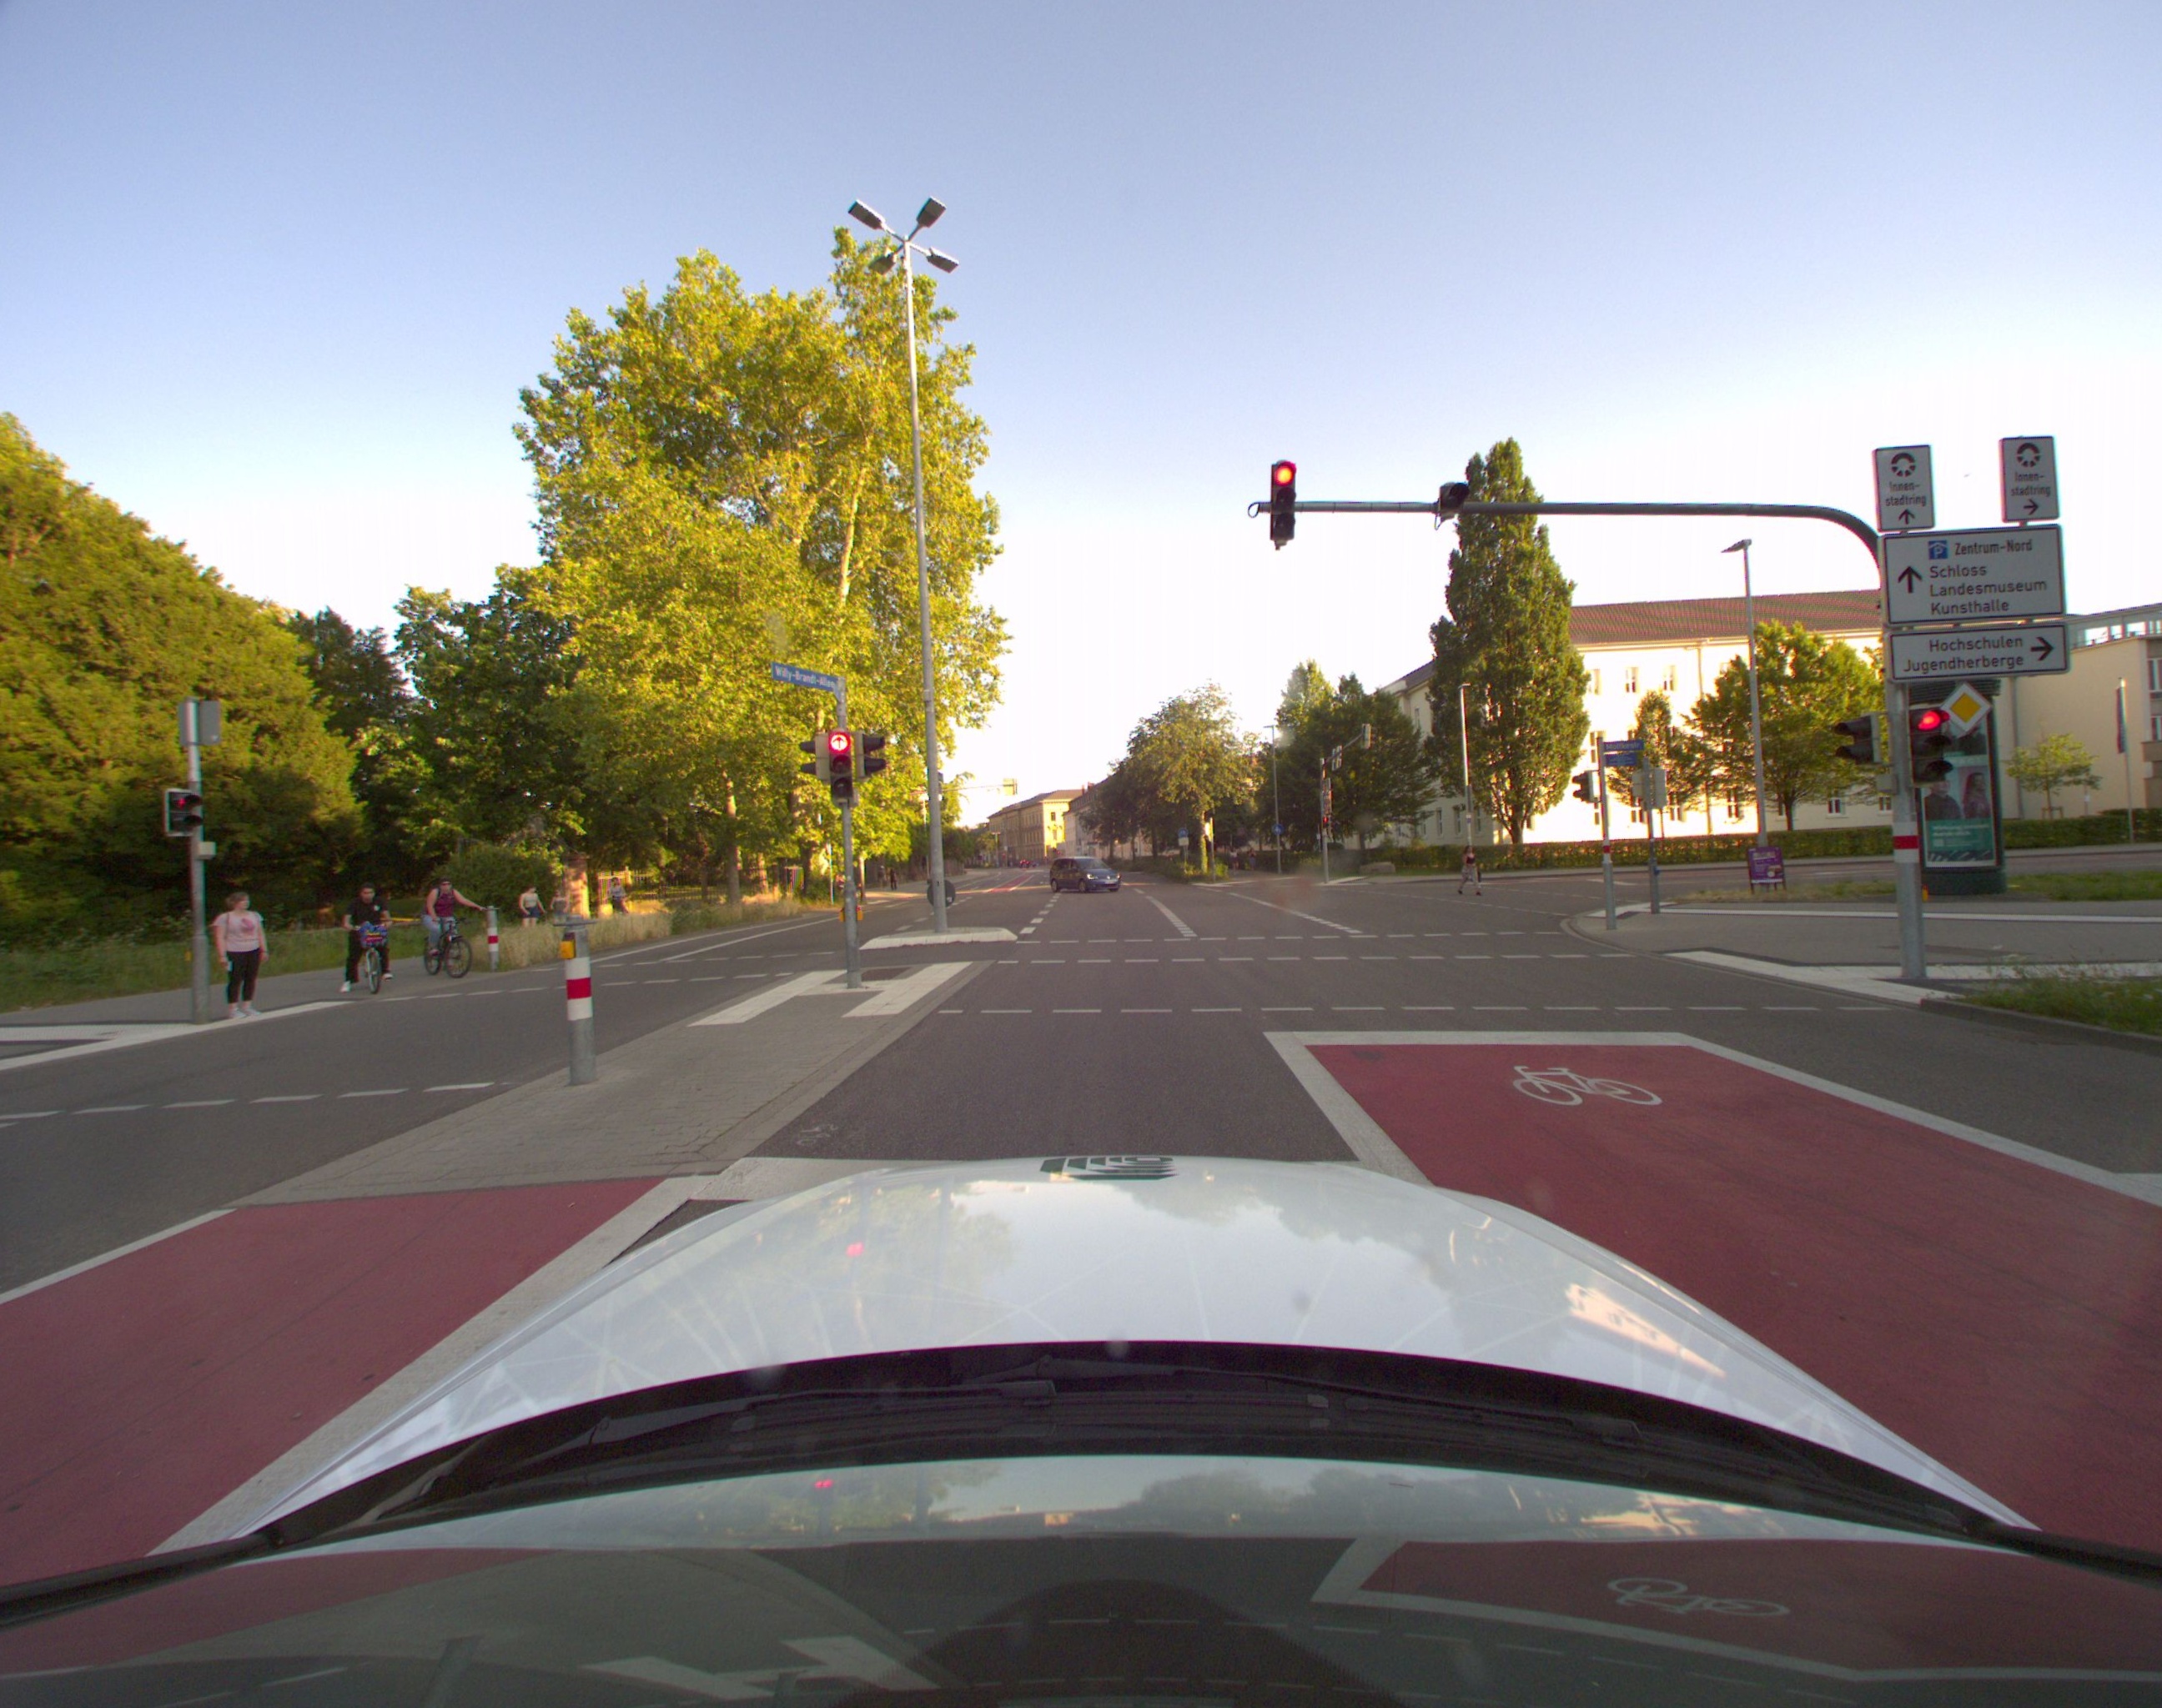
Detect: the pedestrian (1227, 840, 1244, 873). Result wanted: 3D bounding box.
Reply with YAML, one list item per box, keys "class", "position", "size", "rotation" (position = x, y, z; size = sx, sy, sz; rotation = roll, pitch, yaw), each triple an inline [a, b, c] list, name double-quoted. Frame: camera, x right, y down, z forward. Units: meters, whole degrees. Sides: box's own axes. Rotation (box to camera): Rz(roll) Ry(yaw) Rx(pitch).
- class: "pedestrian"
  position: [9.531, 0.170, 50.394]
  size: [0.867, 2.014, 0.723]
  rotation: [-2, -1, 1]

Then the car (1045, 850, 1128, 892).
- class: "car"
  position: [0.172, 0.772, 36.980]
  size: [1.861, 1.720, 4.254]
  rotation: [-3, 0, -30]

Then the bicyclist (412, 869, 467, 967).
- class: "bicyclist"
  position: [-12.029, 1.183, 15.277]
  size: [0.631, 1.780, 0.580]
  rotation: [-3, -1, 32]

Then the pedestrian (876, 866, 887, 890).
- class: "pedestrian"
  position: [-13.930, 1.671, 56.782]
  size: [0.533, 1.596, 0.591]
  rotation: [-3, 0, 1]

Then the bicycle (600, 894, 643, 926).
- class: "bicycle"
  position: [-16.260, 1.959, 28.817]
  size: [0.746, 1.033, 2.269]
  rotation: [-1, -1, -45]

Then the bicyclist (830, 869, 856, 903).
- class: "bicyclist"
  position: [-11.913, 1.585, 40.752]
  size: [0.954, 1.631, 0.753]
  rotation: [-3, 0, 2]

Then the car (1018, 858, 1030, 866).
- class: "car"
  position: [-11.984, 1.748, 170.237]
  size: [1.821, 1.588, 3.983]
  rotation: [-4, 0, -12]

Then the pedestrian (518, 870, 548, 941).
- class: "pedestrian"
  position: [-15.981, 1.496, 23.750]
  size: [0.654, 2.014, 0.599]
  rotation: [-1, -1, -37]

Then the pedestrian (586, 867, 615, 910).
- class: "pedestrian"
  position: [-23.214, 1.633, 39.366]
  size: [0.759, 2.014, 1.075]
  rotation: [-2, -1, -5]

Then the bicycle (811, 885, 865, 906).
- class: "bicycle"
  position: [-12.178, 2.086, 40.776]
  size: [2.420, 0.924, 0.775]
  rotation: [-3, 0, 2]

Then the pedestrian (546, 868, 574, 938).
- class: "pedestrian"
  position: [-15.453, 1.444, 24.157]
  size: [0.598, 2.014, 0.634]
  rotation: [-1, -1, -38]

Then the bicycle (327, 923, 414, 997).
- class: "bicycle"
  position: [-11.810, 1.726, 13.527]
  size: [1.548, 1.111, 0.637]
  rotation: [-3, -1, 32]

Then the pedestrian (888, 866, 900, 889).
- class: "pedestrian"
  position: [-13.040, 1.645, 56.665]
  size: [0.597, 1.573, 0.646]
  rotation: [-3, 0, 1]

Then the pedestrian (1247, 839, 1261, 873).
- class: "pedestrian"
  position: [10.515, 0.122, 49.580]
  size: [0.633, 2.014, 0.720]
  rotation: [-2, -1, -2]

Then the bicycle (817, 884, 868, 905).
- class: "bicycle"
  position: [-12.436, 2.105, 42.484]
  size: [2.420, 0.924, 0.775]
  rotation: [-3, 0, 2]

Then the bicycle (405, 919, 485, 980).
- class: "bicycle"
  position: [-11.853, 1.761, 15.167]
  size: [1.749, 1.030, 0.583]
  rotation: [-3, 0, 32]

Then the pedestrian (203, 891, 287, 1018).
- class: "pedestrian"
  position: [-11.756, 1.397, 11.463]
  size: [0.604, 1.695, 0.499]
  rotation: [-3, 0, 3]

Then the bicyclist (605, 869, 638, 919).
- class: "bicyclist"
  position: [-16.306, 1.411, 28.895]
  size: [0.762, 1.728, 0.932]
  rotation: [-1, -1, -45]

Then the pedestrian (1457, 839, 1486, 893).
- class: "pedestrian"
  position: [12.052, 0.365, 25.138]
  size: [0.596, 1.636, 0.693]
  rotation: [-2, 0, 7]

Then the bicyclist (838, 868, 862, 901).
- class: "bicyclist"
  position: [-12.040, 1.595, 42.494]
  size: [0.954, 1.631, 0.753]
  rotation: [-3, 0, 2]

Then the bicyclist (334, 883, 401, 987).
- class: "bicyclist"
  position: [-11.871, 1.330, 13.560]
  size: [0.631, 1.649, 0.634]
  rotation: [-3, -1, 32]
